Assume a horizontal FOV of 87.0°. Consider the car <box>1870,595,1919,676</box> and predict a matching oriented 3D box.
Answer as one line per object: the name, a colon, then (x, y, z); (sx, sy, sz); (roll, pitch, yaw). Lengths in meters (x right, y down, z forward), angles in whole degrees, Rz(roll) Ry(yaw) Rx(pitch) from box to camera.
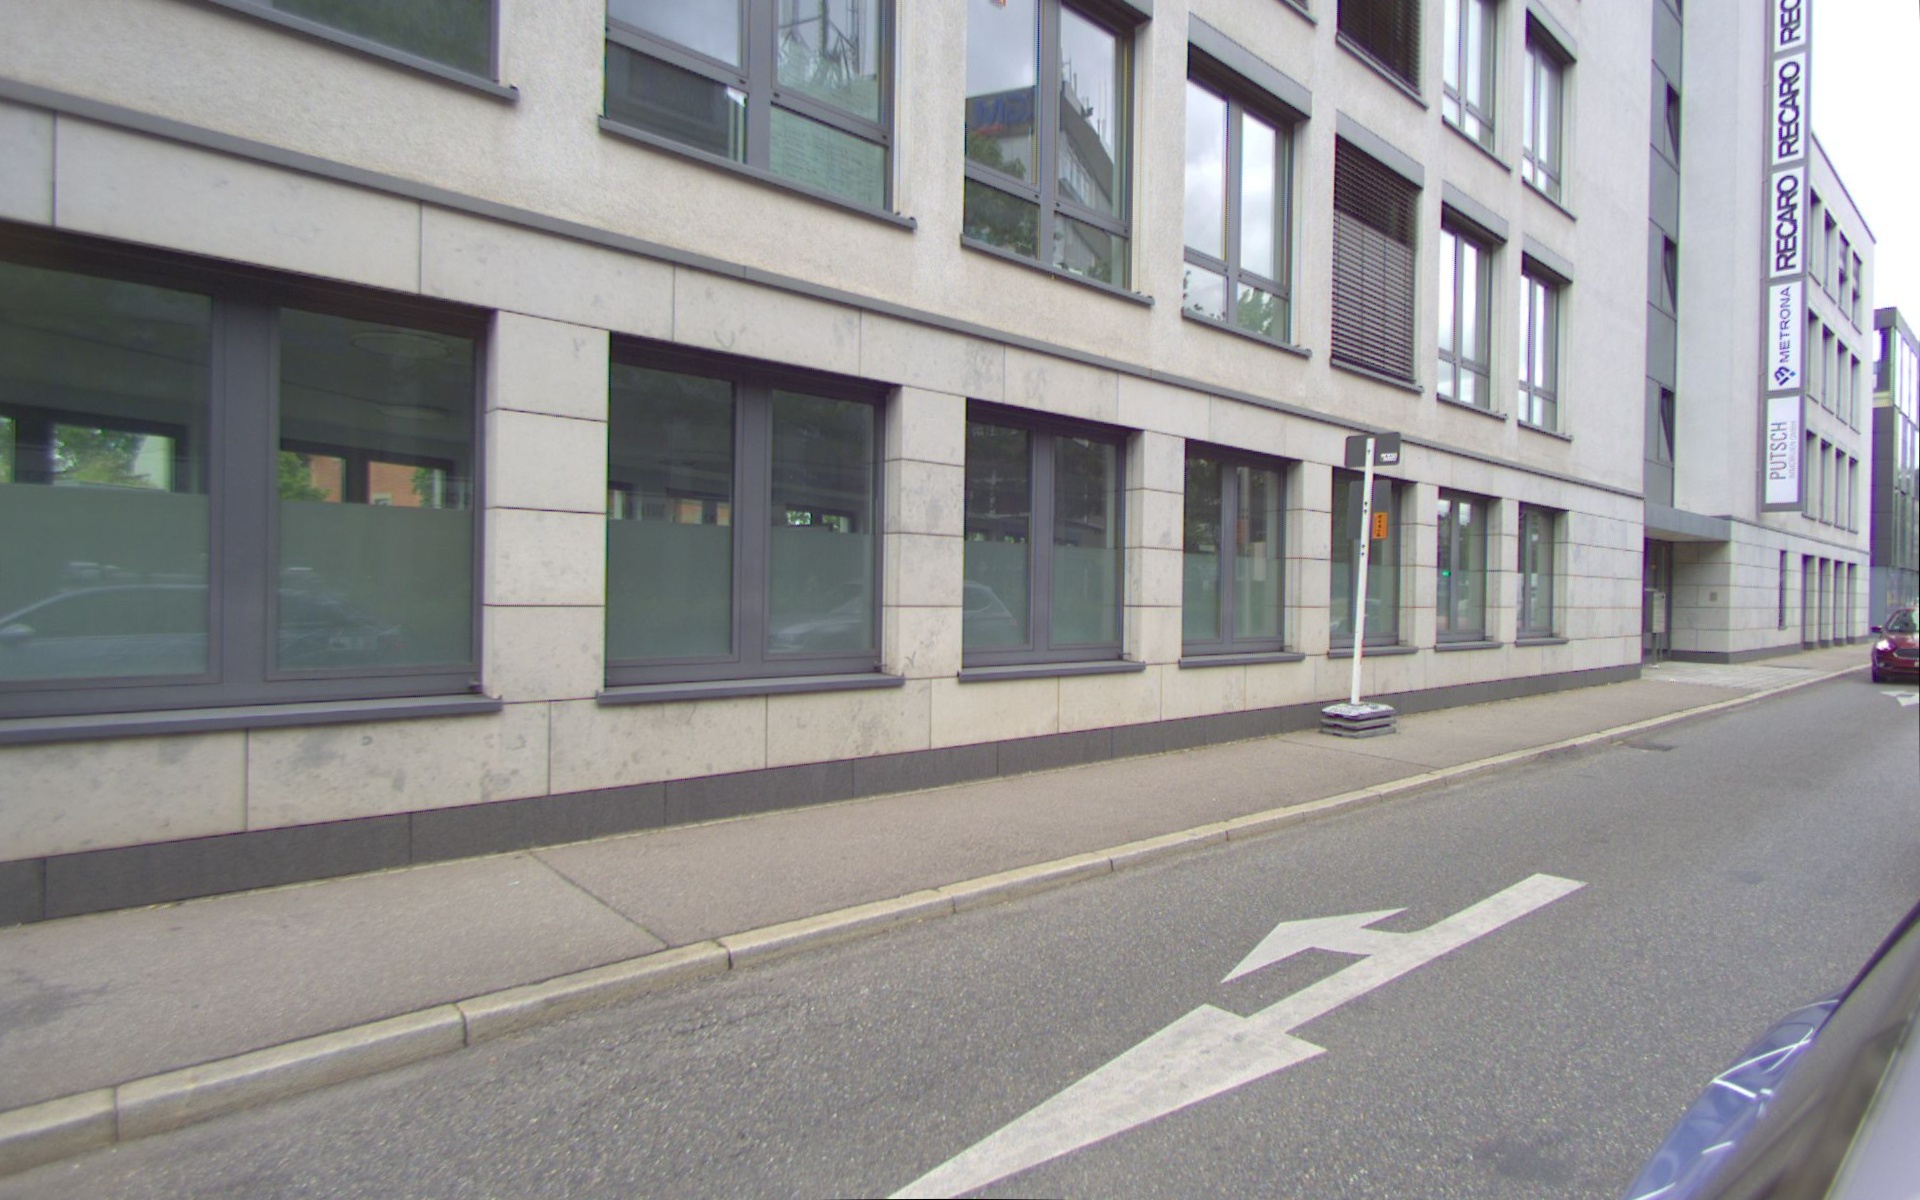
car: (19.640, 0.670, 20.069); (3.930, 1.511, 1.888); (0, -2, -41)
